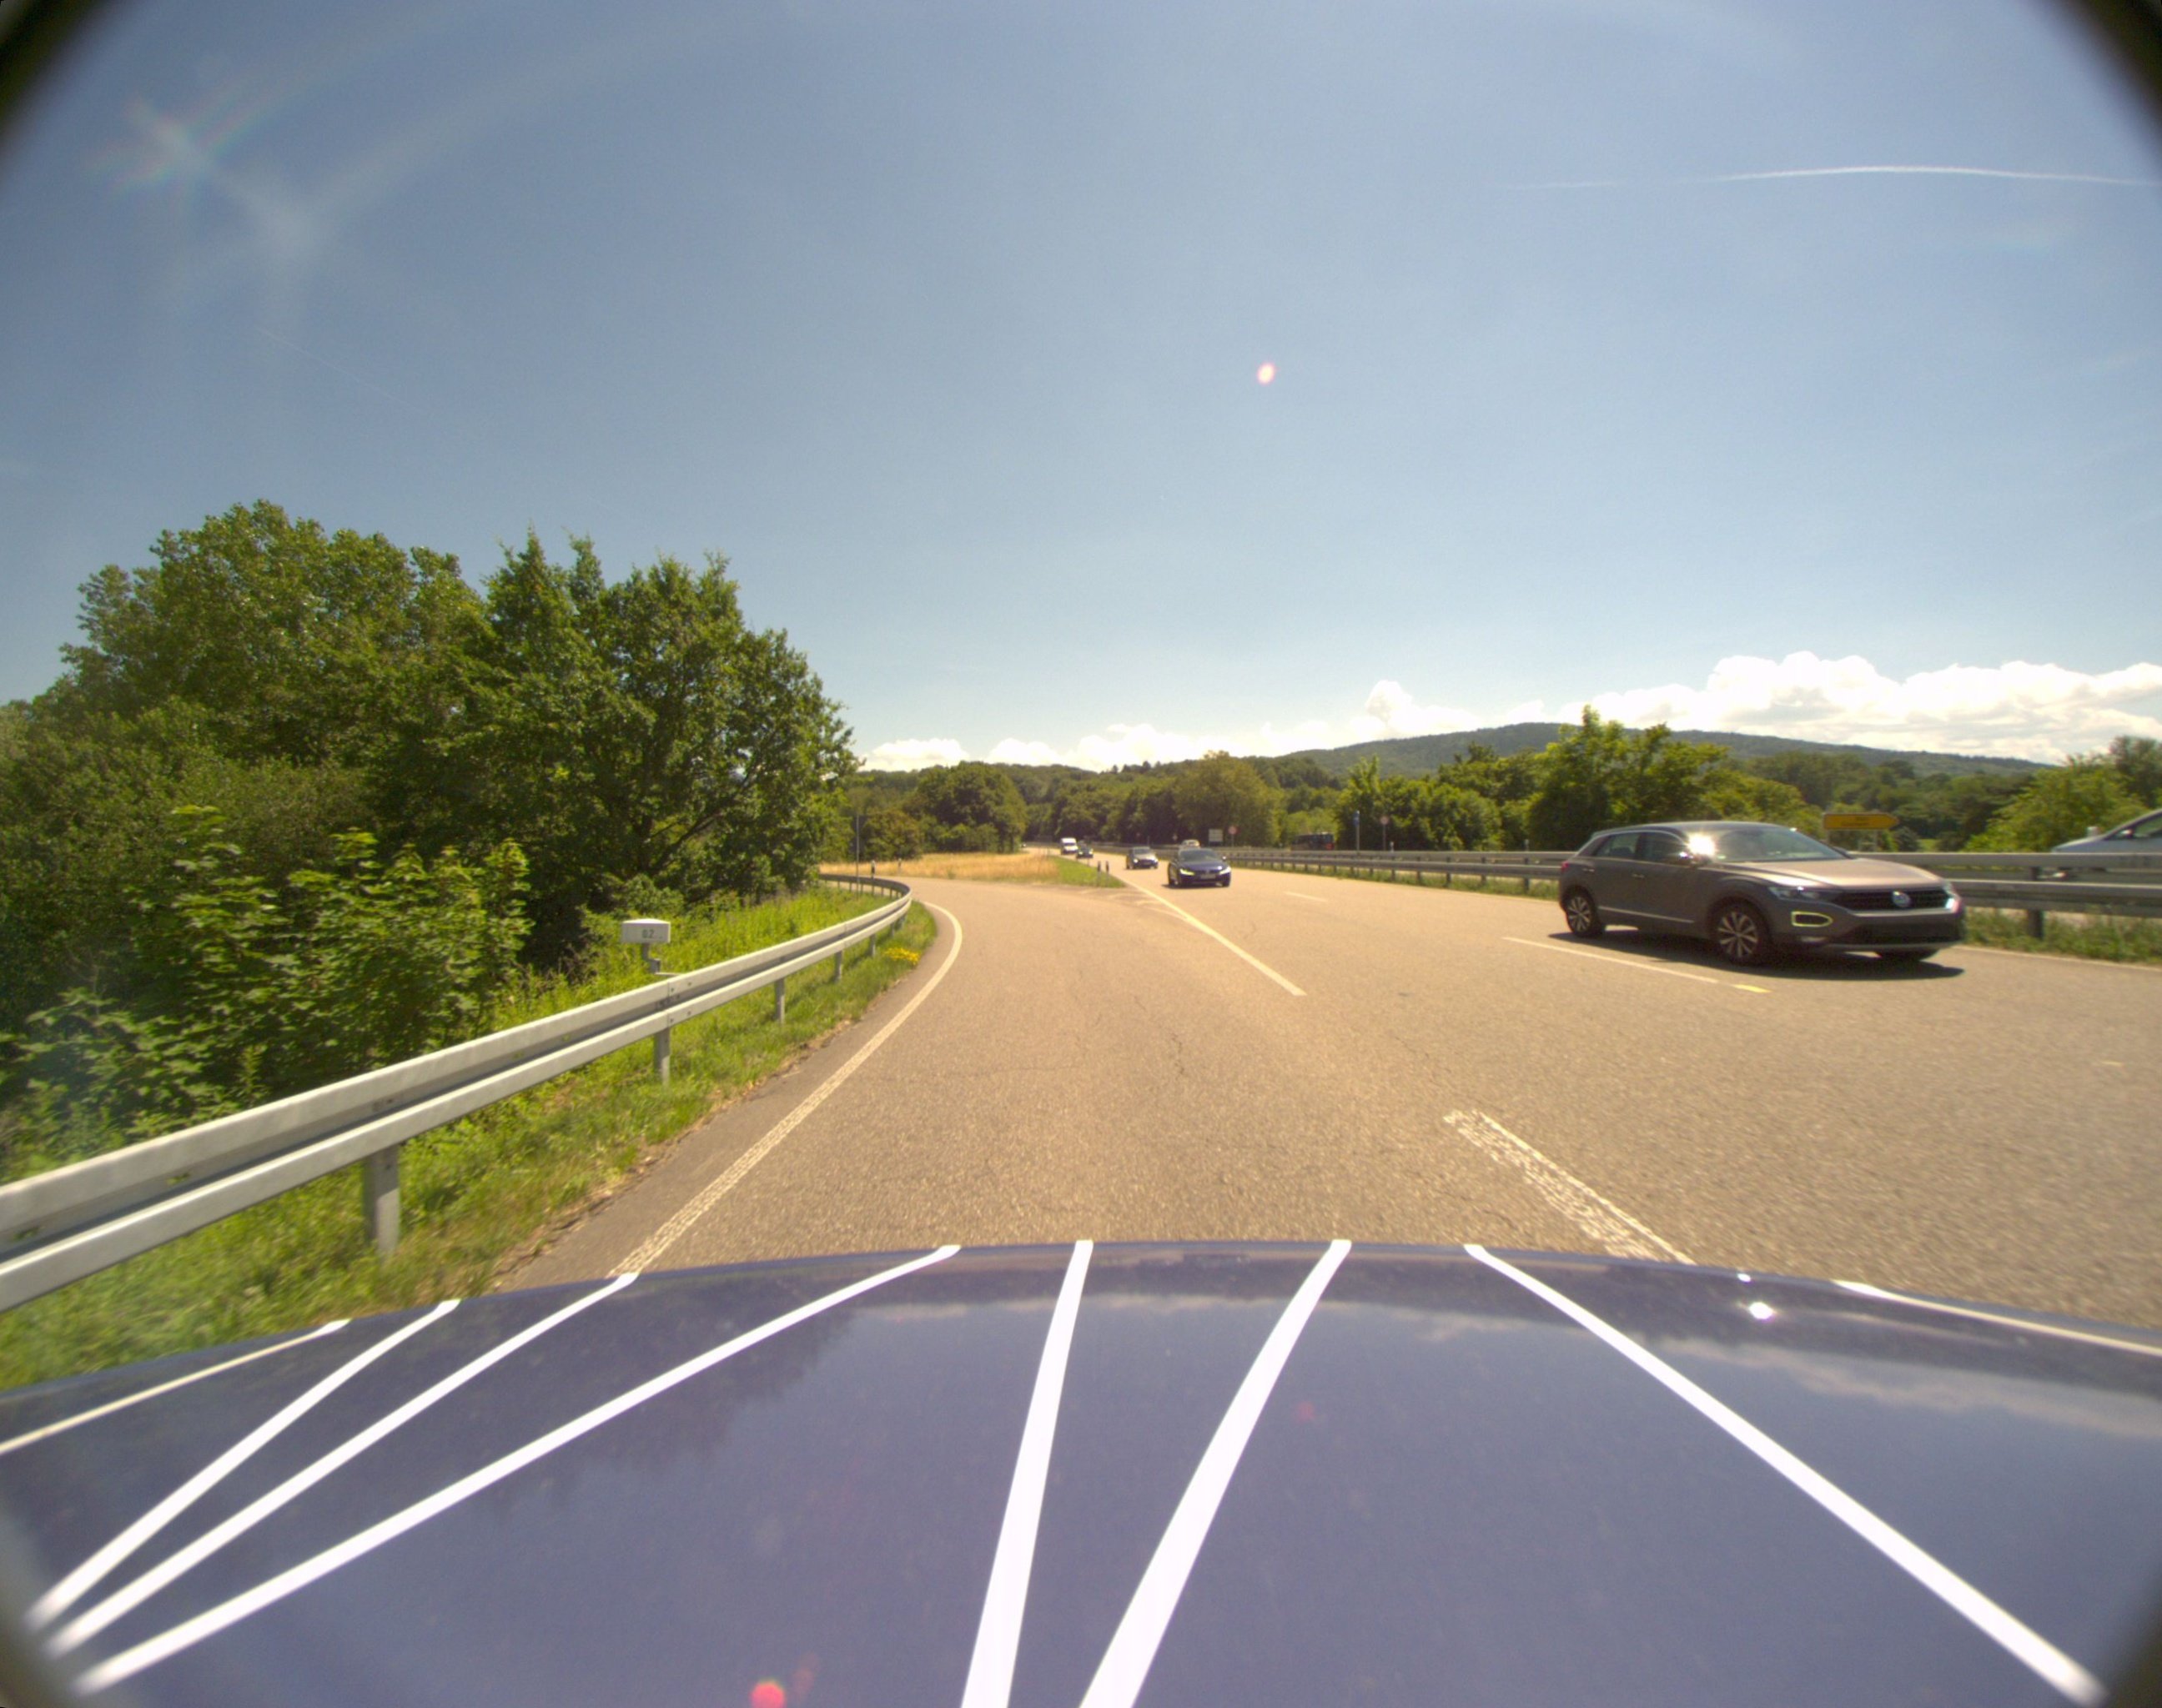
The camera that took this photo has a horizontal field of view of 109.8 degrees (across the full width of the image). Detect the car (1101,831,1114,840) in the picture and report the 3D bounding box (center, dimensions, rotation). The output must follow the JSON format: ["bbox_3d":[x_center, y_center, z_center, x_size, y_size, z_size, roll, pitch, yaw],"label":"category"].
[{"bbox_3d":[5.933,-4.093,168.839,2.000,1.882,4.907,-2,2,-7],"label":"car"}]

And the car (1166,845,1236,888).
[{"bbox_3d":[4.434,0.412,28.709,1.846,1.400,4.468,-3,1,-1],"label":"car"}]

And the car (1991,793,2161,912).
[{"bbox_3d":[18.180,-0.042,11.782,2.209,1.882,4.910,-2,2,0],"label":"car"}]

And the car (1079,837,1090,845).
[{"bbox_3d":[0.734,-3.048,182.248,1.936,1.741,4.906,-2,2,-8],"label":"car"}]

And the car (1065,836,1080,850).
[{"bbox_3d":[-1.322,-1.767,116.891,2.009,1.988,4.576,-2,2,-3],"label":"car"}]

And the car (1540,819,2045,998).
[{"bbox_3d":[7.715,0.457,9.030,1.846,1.521,4.469,-3,1,1],"label":"car"}]

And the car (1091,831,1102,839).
[{"bbox_3d":[3.801,-4.722,186.309,2.000,1.882,4.907,-2,2,-7],"label":"car"}]

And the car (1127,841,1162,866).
[{"bbox_3d":[4.526,-0.058,54.928,1.798,1.658,4.552,-2,1,-4],"label":"car"}]

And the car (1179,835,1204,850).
[{"bbox_3d":[14.326,-1.515,99.002,2.000,1.882,4.907,-2,2,-7],"label":"car"}]

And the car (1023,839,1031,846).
[{"bbox_3d":[-14.082,-2.996,198.584,1.875,1.594,3.997,-2,2,-3],"label":"car"}]

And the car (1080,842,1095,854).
[{"bbox_3d":[0.804,-0.795,95.057,1.846,1.400,4.468,-2,2,0],"label":"car"}]

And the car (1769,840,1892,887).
[{"bbox_3d":[34.782,0.374,35.482,2.206,1.882,4.917,-1,3,20],"label":"car"}]

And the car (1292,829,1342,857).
[{"bbox_3d":[17.481,-0.864,56.540,2.209,1.882,4.910,-2,2,0],"label":"car"}]
